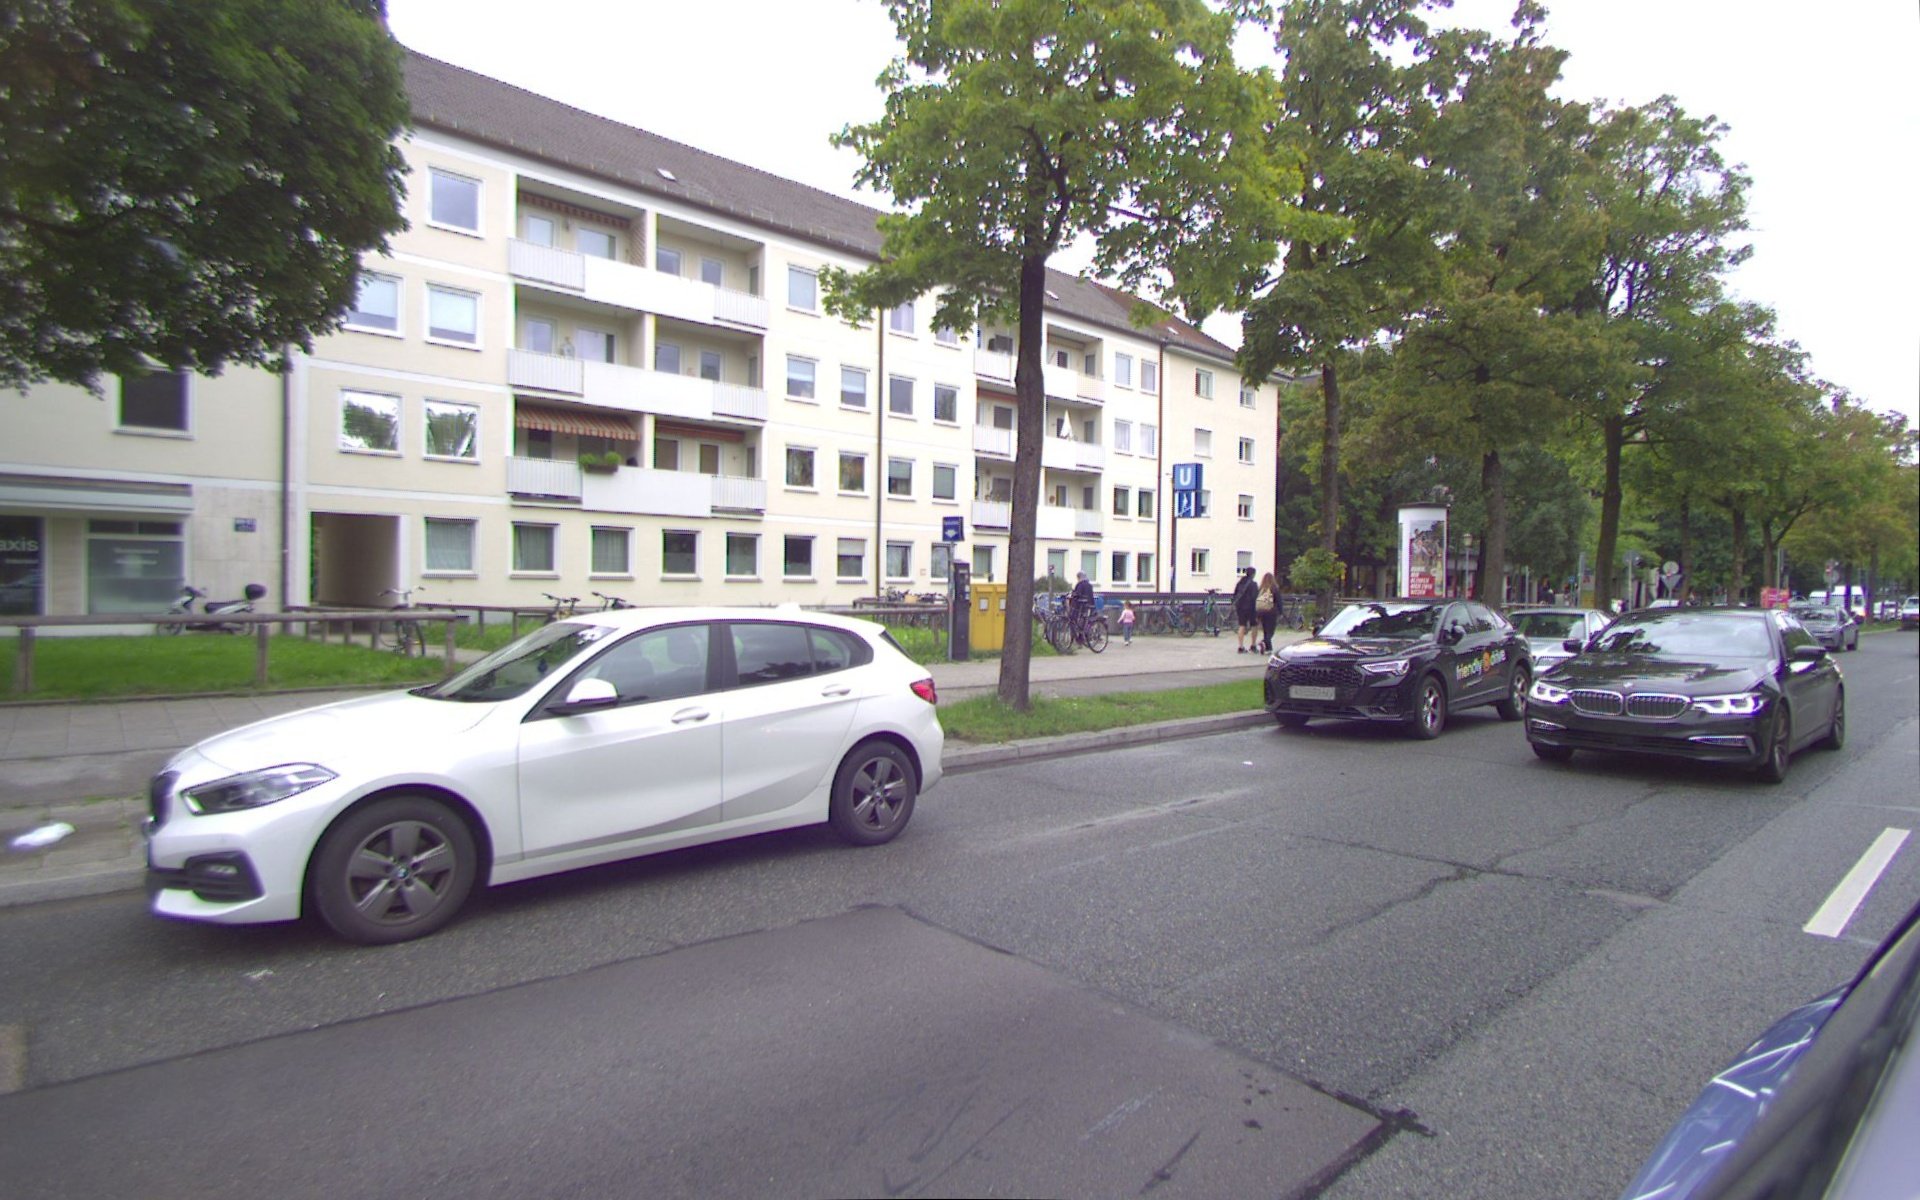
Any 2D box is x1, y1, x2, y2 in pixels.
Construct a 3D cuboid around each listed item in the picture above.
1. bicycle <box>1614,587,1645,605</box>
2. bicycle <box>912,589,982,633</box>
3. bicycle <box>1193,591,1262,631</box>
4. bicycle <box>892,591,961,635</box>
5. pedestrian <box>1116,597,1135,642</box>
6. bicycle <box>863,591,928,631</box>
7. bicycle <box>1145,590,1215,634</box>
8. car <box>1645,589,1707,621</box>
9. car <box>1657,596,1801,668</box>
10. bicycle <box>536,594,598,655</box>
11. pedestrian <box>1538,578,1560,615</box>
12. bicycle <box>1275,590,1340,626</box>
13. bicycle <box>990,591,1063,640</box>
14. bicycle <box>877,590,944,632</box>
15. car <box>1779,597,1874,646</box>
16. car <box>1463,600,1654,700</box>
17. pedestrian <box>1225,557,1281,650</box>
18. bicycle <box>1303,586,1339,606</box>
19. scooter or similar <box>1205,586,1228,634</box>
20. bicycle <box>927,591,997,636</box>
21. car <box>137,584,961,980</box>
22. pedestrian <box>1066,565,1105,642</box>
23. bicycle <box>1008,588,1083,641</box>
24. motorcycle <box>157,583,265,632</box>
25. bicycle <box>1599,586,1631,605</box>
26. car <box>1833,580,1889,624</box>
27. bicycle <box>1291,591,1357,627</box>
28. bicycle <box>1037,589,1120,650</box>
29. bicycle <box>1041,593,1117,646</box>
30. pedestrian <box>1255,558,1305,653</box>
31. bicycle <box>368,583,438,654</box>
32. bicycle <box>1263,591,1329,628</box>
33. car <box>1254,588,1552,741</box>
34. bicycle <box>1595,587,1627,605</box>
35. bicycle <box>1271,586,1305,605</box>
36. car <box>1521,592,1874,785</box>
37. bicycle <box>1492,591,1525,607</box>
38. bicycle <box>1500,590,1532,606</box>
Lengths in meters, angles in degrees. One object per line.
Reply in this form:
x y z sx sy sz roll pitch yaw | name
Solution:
62.261 -0.372 94.117 2.298 1.643 0.642 1 1 33 | bicycle
-0.311 0.270 24.960 1.850 1.041 0.432 0 1 -41 | bicycle
7.429 0.290 28.159 0.425 1.041 1.879 0 2 -44 | bicycle
-0.824 0.319 25.470 1.850 1.041 0.432 0 1 -41 | bicycle
3.693 0.432 22.594 0.402 0.961 0.434 1 1 11 | pedestrian
-1.728 0.303 27.449 1.850 1.041 0.432 0 1 -41 | bicycle
5.741 0.301 26.486 0.425 1.041 1.879 0 2 -44 | bicycle
40.606 0.268 57.371 4.122 1.654 1.826 0 2 -39 | car
17.458 0.672 22.917 4.102 1.484 1.754 0 0 -40 | car
-6.750 0.396 17.328 0.425 0.986 1.881 0 0 -39 | bicycle
28.839 -0.177 49.536 0.835 1.771 0.640 1 2 -43 | pedestrian
10.696 0.233 31.169 1.878 1.041 0.426 3 2 44 | bicycle
1.512 0.339 22.855 1.850 1.041 0.432 0 1 -41 | bicycle
-1.266 0.283 26.318 1.850 1.041 0.432 0 1 -41 | bicycle
27.567 0.644 32.147 4.042 1.484 1.685 0 0 -40 | car
9.750 0.710 16.345 4.174 1.403 1.637 0 0 -44 | car
6.197 0.052 21.407 0.904 1.913 0.730 0 2 -42 | pedestrian
18.621 -0.216 52.261 0.448 0.983 1.692 1 1 -44 | bicycle
6.765 0.240 26.713 0.352 1.215 1.388 1 2 6 | scooter or similar
0.070 0.325 24.640 1.850 1.041 0.432 0 1 -41 | bicycle
-2.062 0.699 5.813 4.066 1.484 1.684 0 -1 -42 | car
2.850 0.068 23.005 0.827 1.702 0.833 1 1 7 | pedestrian
1.898 0.305 22.257 1.850 1.115 0.432 0 1 -41 | bicycle
-16.538 0.154 22.377 1.873 1.036 0.605 0 0 -41 | motorcycle
58.870 -0.441 90.924 0.638 1.643 2.312 1 1 -41 | bicycle
57.129 0.137 64.122 5.902 2.691 1.976 0 -1 -42 | car
11.256 0.267 31.359 1.876 1.041 0.426 3 2 42 | bicycle
2.337 0.374 19.792 1.850 1.147 0.432 1 1 -41 | bicycle
2.501 0.397 21.149 1.850 1.041 0.432 0 1 -41 | bicycle
6.613 0.099 20.895 0.887 1.913 0.589 0 1 -42 | pedestrian
-7.965 0.247 14.434 0.548 0.951 1.881 0 0 -39 | bicycle
10.117 0.270 30.539 0.425 1.041 1.879 0 2 -44 | bicycle
5.497 0.656 12.302 4.201 1.552 1.719 0 0 -41 | car
57.479 -0.377 89.391 0.638 1.551 2.312 0 1 -41 | bicycle
17.358 -0.233 53.521 0.448 0.983 1.692 1 1 -44 | bicycle
7.348 0.680 9.891 4.586 1.461 1.798 0 -1 -41 | car
40.017 -0.105 73.889 0.447 1.134 2.079 0 1 -41 | bicycle
41.534 -0.145 75.628 0.447 1.134 2.079 0 1 -41 | bicycle
